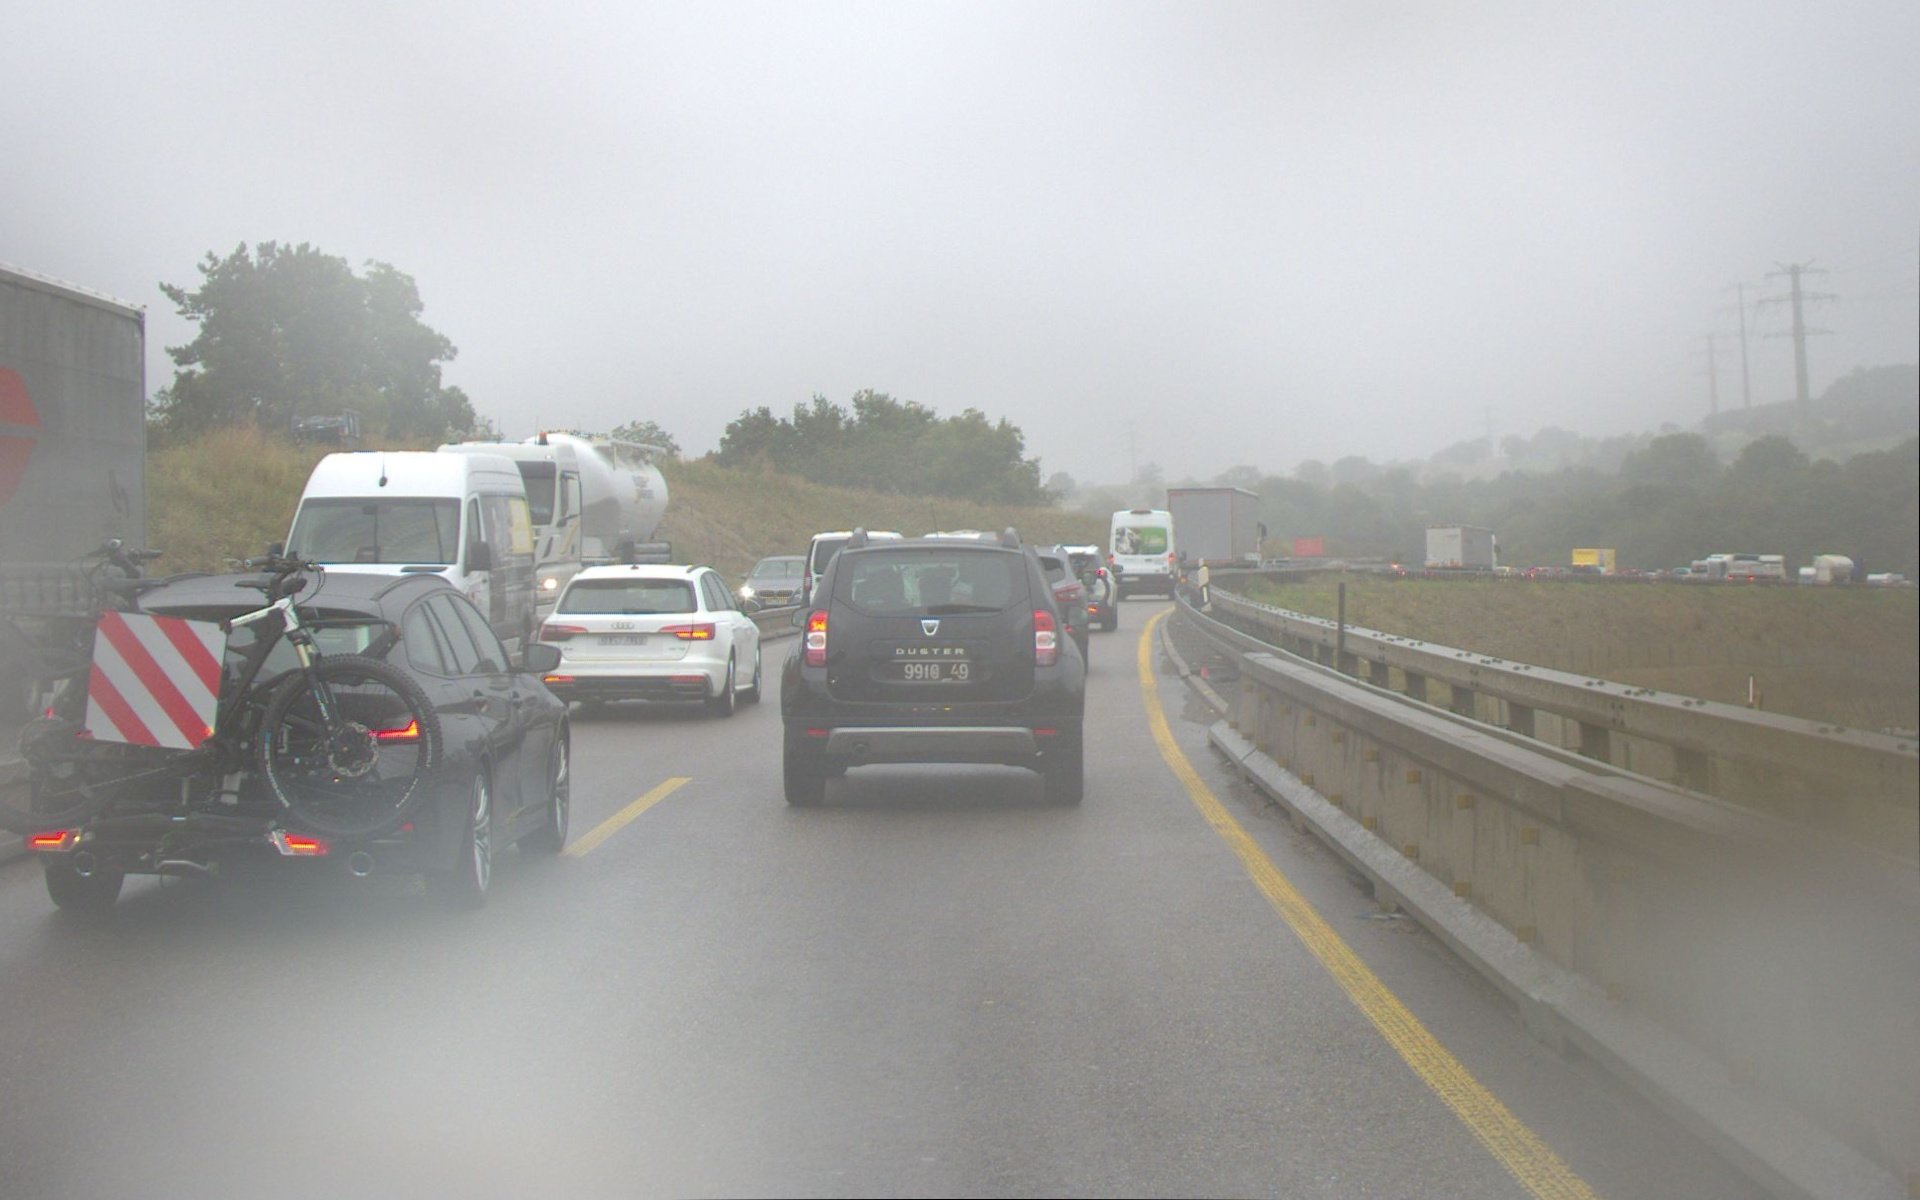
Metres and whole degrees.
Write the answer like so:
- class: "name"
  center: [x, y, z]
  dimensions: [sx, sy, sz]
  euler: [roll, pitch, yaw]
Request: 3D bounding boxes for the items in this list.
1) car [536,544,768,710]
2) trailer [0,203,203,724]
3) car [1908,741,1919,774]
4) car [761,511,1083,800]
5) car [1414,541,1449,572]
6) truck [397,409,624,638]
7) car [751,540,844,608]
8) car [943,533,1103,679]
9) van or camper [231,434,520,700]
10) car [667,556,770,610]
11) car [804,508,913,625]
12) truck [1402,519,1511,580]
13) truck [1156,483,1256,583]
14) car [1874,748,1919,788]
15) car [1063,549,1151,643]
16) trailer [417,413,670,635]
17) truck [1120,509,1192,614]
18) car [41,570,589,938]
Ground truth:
- class: "car"
  center: [-2.859, 0.206, 32.776]
  dimensions: [1.867, 1.455, 4.549]
  euler: [1, 1, -1]
- class: "trailer"
  center: [-9.612, -1.098, 28.034]
  dimensions: [2.995, 4.406, 15.703]
  euler: [-2, 1, 1]
- class: "car"
  center: [60.596, 9.869, 215.480]
  dimensions: [1.994, 1.809, 3.998]
  euler: [0, 0, 12]
- class: "car"
  center: [-0.151, 0.305, 21.541]
  dimensions: [1.804, 1.640, 3.776]
  euler: [0, 0, 2]
- class: "car"
  center: [29.472, -2.725, 214.818]
  dimensions: [1.776, 1.909, 3.998]
  euler: [1, 1, 13]
- class: "truck"
  center: [-8.085, -1.353, 62.543]
  dimensions: [3.231, 3.942, 5.881]
  euler: [-1, 0, 1]
- class: "car"
  center: [-3.634, -0.588, 77.619]
  dimensions: [1.803, 1.434, 4.951]
  euler: [-2, 1, 0]
- class: "car"
  center: [0.749, 0.040, 42.400]
  dimensions: [1.867, 1.703, 4.000]
  euler: [0, 1, 0]
- class: "van or camper"
  center: [-6.138, -0.365, 36.840]
  dimensions: [2.278, 2.605, 5.829]
  euler: [1, 1, -2]
- class: "car"
  center: [-7.361, -0.543, 105.377]
  dimensions: [1.994, 1.581, 5.117]
  euler: [1, 1, 10]
- class: "car"
  center: [-1.667, -0.567, 57.404]
  dimensions: [1.660, 1.873, 4.020]
  euler: [1, 1, 0]
- class: "truck"
  center: [35.313, -3.537, 243.793]
  dimensions: [4.722, 4.135, 15.667]
  euler: [1, 1, 19]
- class: "truck"
  center: [9.638, -2.567, 133.855]
  dimensions: [3.201, 3.748, 8.506]
  euler: [1, 1, 9]
- class: "car"
  center: [54.418, 9.719, 199.373]
  dimensions: [2.366, 2.007, 3.998]
  euler: [1, 1, 10]
- class: "car"
  center: [2.679, -0.102, 62.176]
  dimensions: [1.530, 1.635, 4.012]
  euler: [1, 1, 3]
- class: "trailer"
  center: [-7.982, -1.416, 67.624]
  dimensions: [3.255, 3.950, 11.536]
  euler: [-1, 1, 1]
- class: "truck"
  center: [6.119, -1.211, 107.654]
  dimensions: [2.149, 3.155, 6.459]
  euler: [1, 1, 3]
- class: "car"
  center: [-2.809, 0.609, 15.775]
  dimensions: [1.828, 1.471, 3.776]
  euler: [0, 0, -1]
